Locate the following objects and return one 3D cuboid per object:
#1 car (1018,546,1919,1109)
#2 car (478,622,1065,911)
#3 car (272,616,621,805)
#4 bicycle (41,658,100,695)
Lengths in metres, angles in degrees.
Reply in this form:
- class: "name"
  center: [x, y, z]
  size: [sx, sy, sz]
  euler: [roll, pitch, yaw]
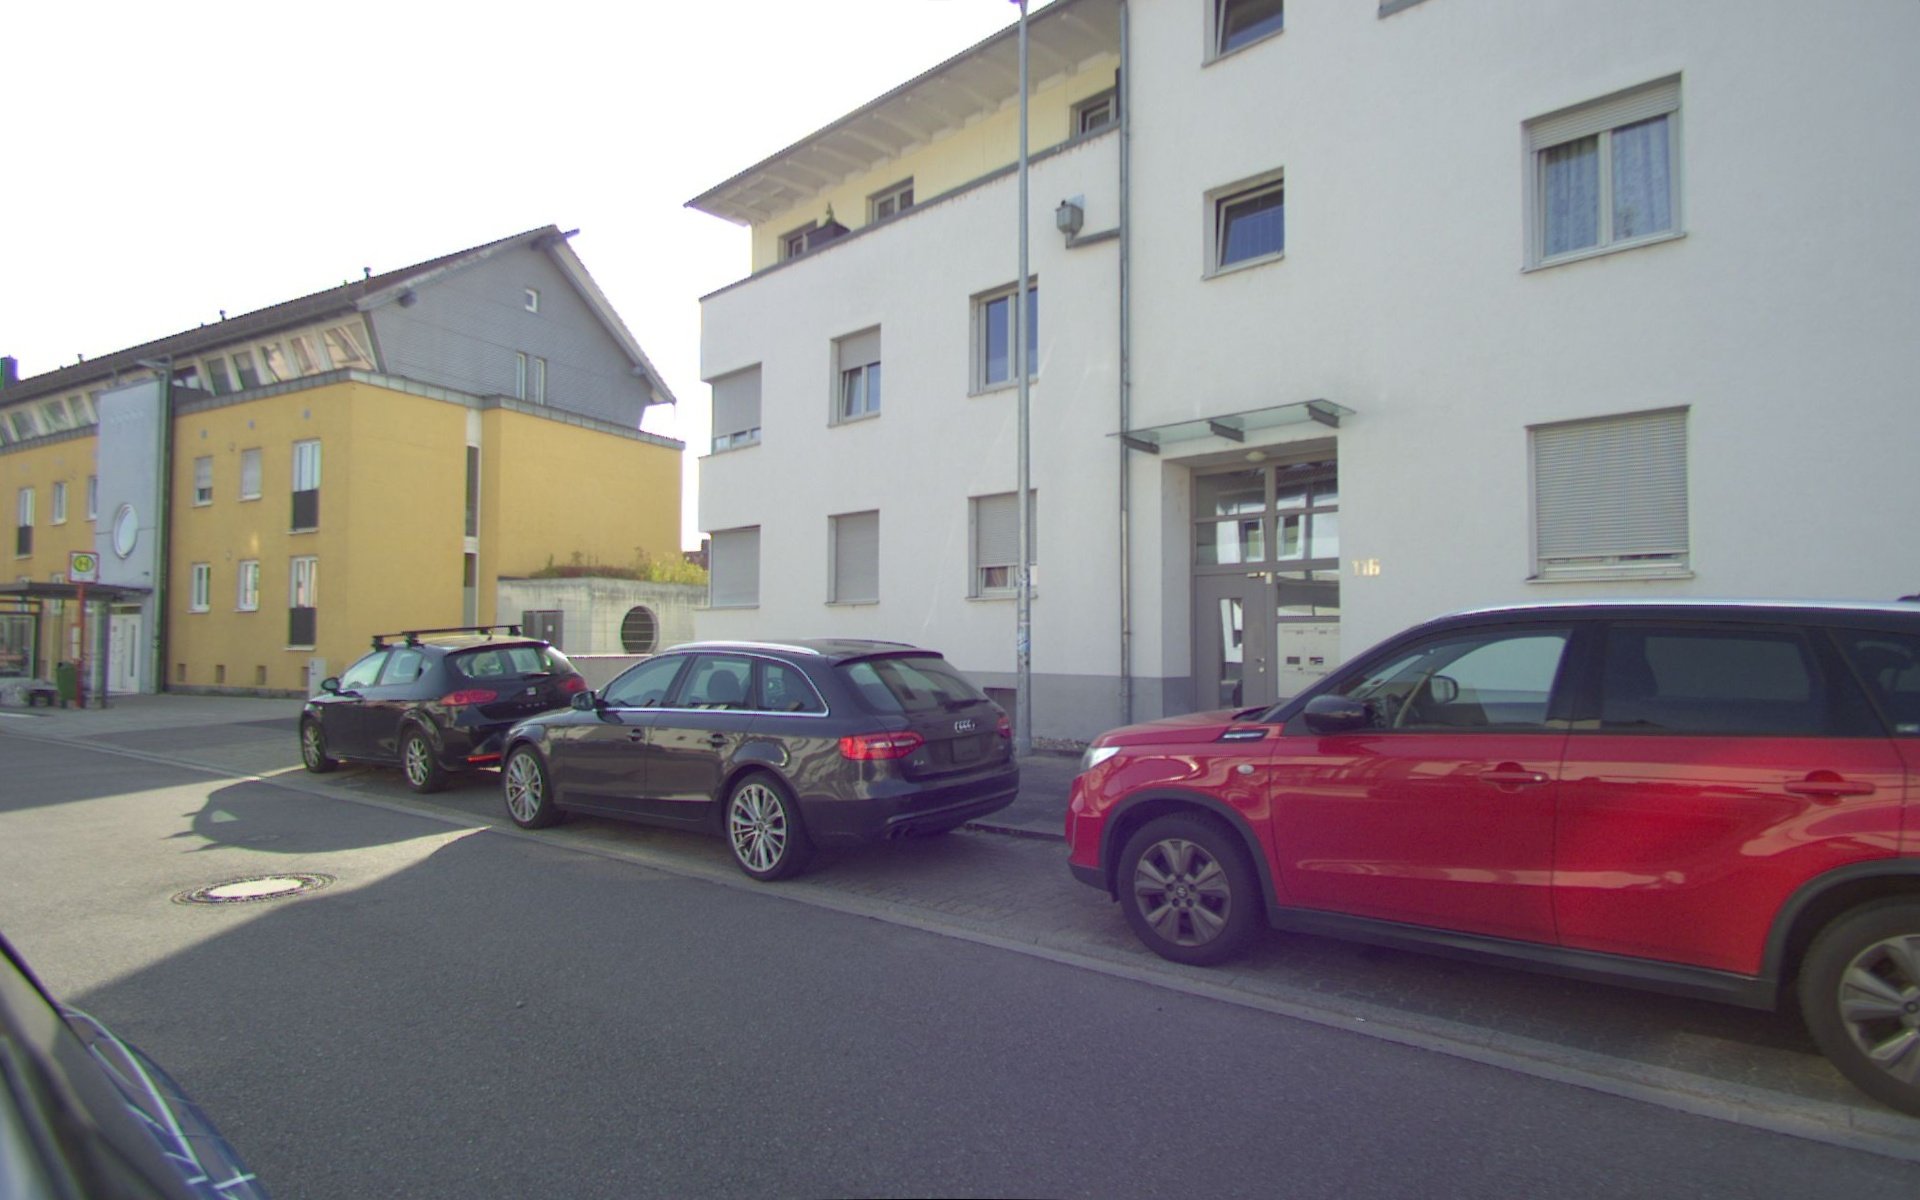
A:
- class: "car"
  center: [2.473, 0.721, 4.319]
  size: [4.258, 1.634, 1.710]
  euler: [-2, -3, 39]
- class: "car"
  center: [-1.601, 0.947, 7.407]
  size: [4.497, 1.489, 1.710]
  euler: [-2, -1, 39]
- class: "car"
  center: [-5.683, 1.051, 10.993]
  size: [4.171, 1.634, 1.759]
  euler: [-2, -1, 38]
- class: "bicycle"
  center: [-25.379, 2.168, 28.865]
  size: [1.899, 1.005, 0.711]
  euler: [-2, -2, 30]
